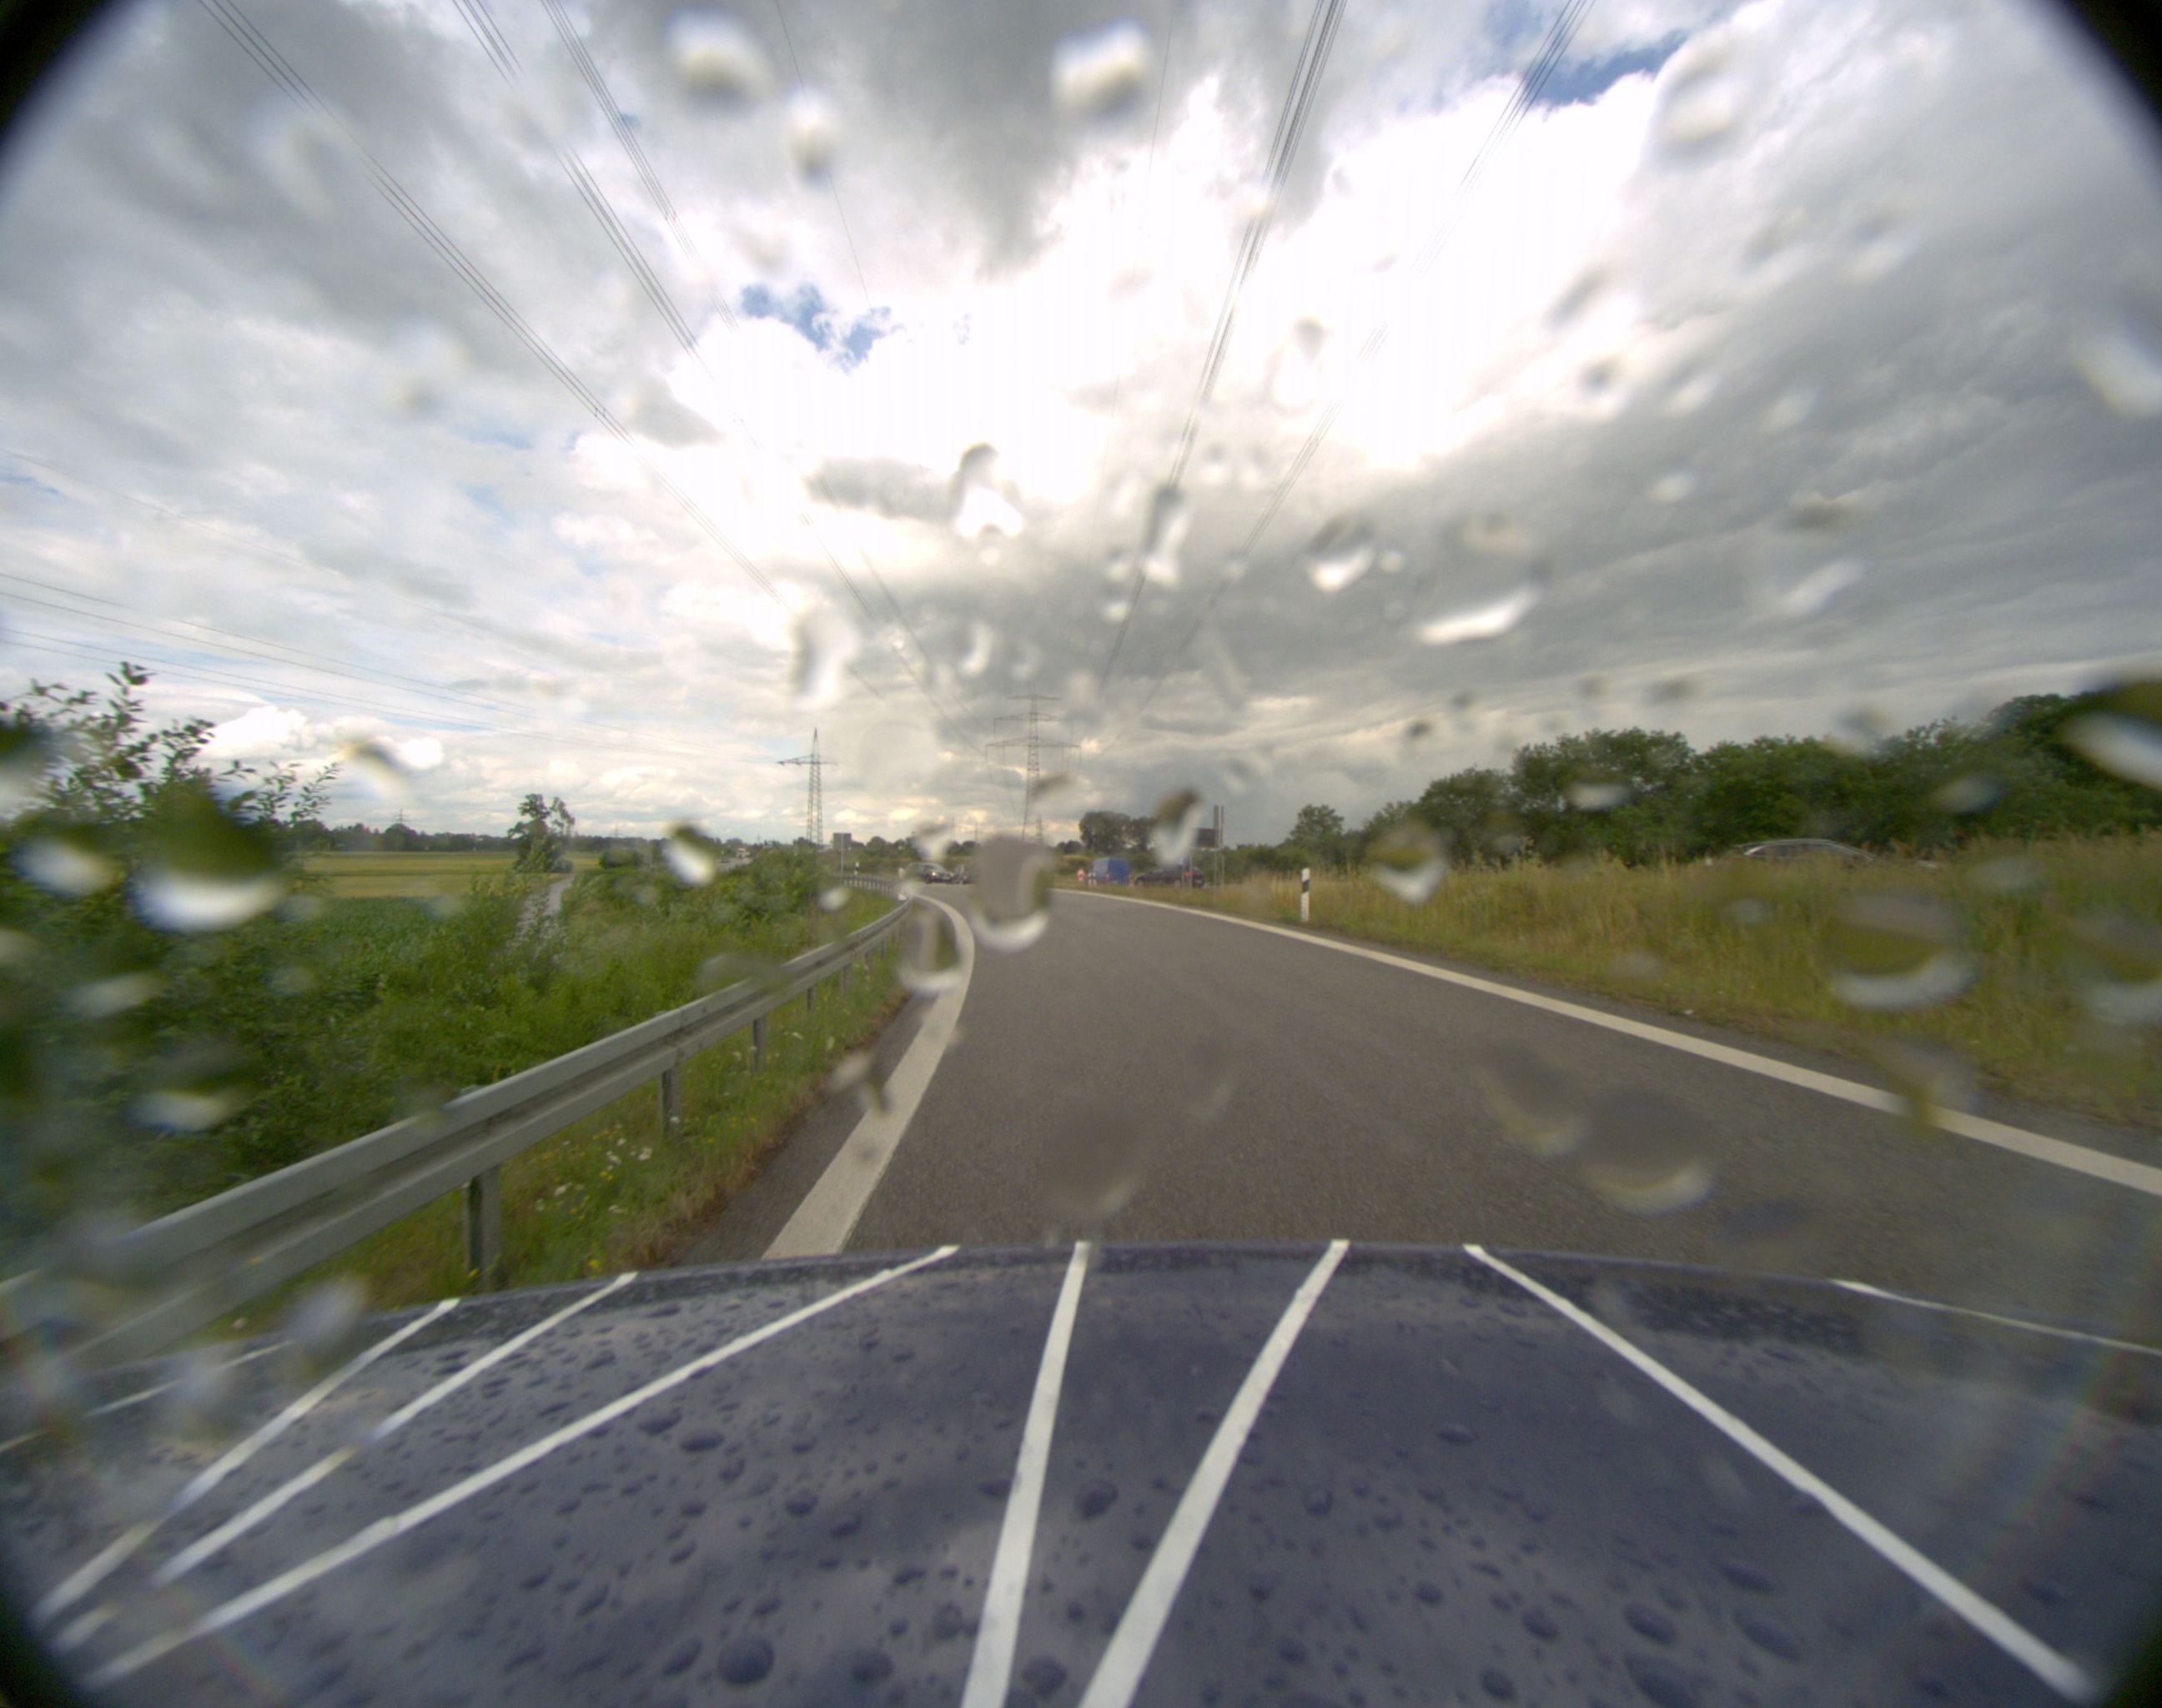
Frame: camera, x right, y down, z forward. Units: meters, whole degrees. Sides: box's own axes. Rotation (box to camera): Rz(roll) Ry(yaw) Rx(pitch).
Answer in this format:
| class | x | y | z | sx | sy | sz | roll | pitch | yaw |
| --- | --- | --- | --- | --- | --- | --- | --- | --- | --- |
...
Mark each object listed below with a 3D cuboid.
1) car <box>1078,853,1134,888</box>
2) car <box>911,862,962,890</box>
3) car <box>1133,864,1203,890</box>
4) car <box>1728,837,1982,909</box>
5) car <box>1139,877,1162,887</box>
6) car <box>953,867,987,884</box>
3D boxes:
| class | x | y | z | sx | sy | sz | roll | pitch | yaw |
| --- | --- | --- | --- | --- | --- | --- | --- | --- | --- |
| car | 1.970 | 1.361 | 62.200 | 2.336 | 2.709 | 6.272 | 1 | -1 | -21 |
| car | -9.853 | 1.454 | 51.570 | 2.003 | 1.742 | 3.990 | -1 | 0 | -33 |
| car | 4.771 | 1.226 | 41.796 | 1.483 | 1.342 | 3.704 | -1 | 0 | -44 |
| car | 20.389 | 0.479 | 20.276 | 2.005 | 1.709 | 4.581 | 1 | -1 | -44 |
| car | 10.342 | 4.180 | 112.982 | 1.737 | 1.430 | 3.782 | 1 | -2 | 33 |
| car | -8.348 | 1.603 | 57.138 | 1.438 | 1.169 | 3.126 | -2 | 1 | -30 |
